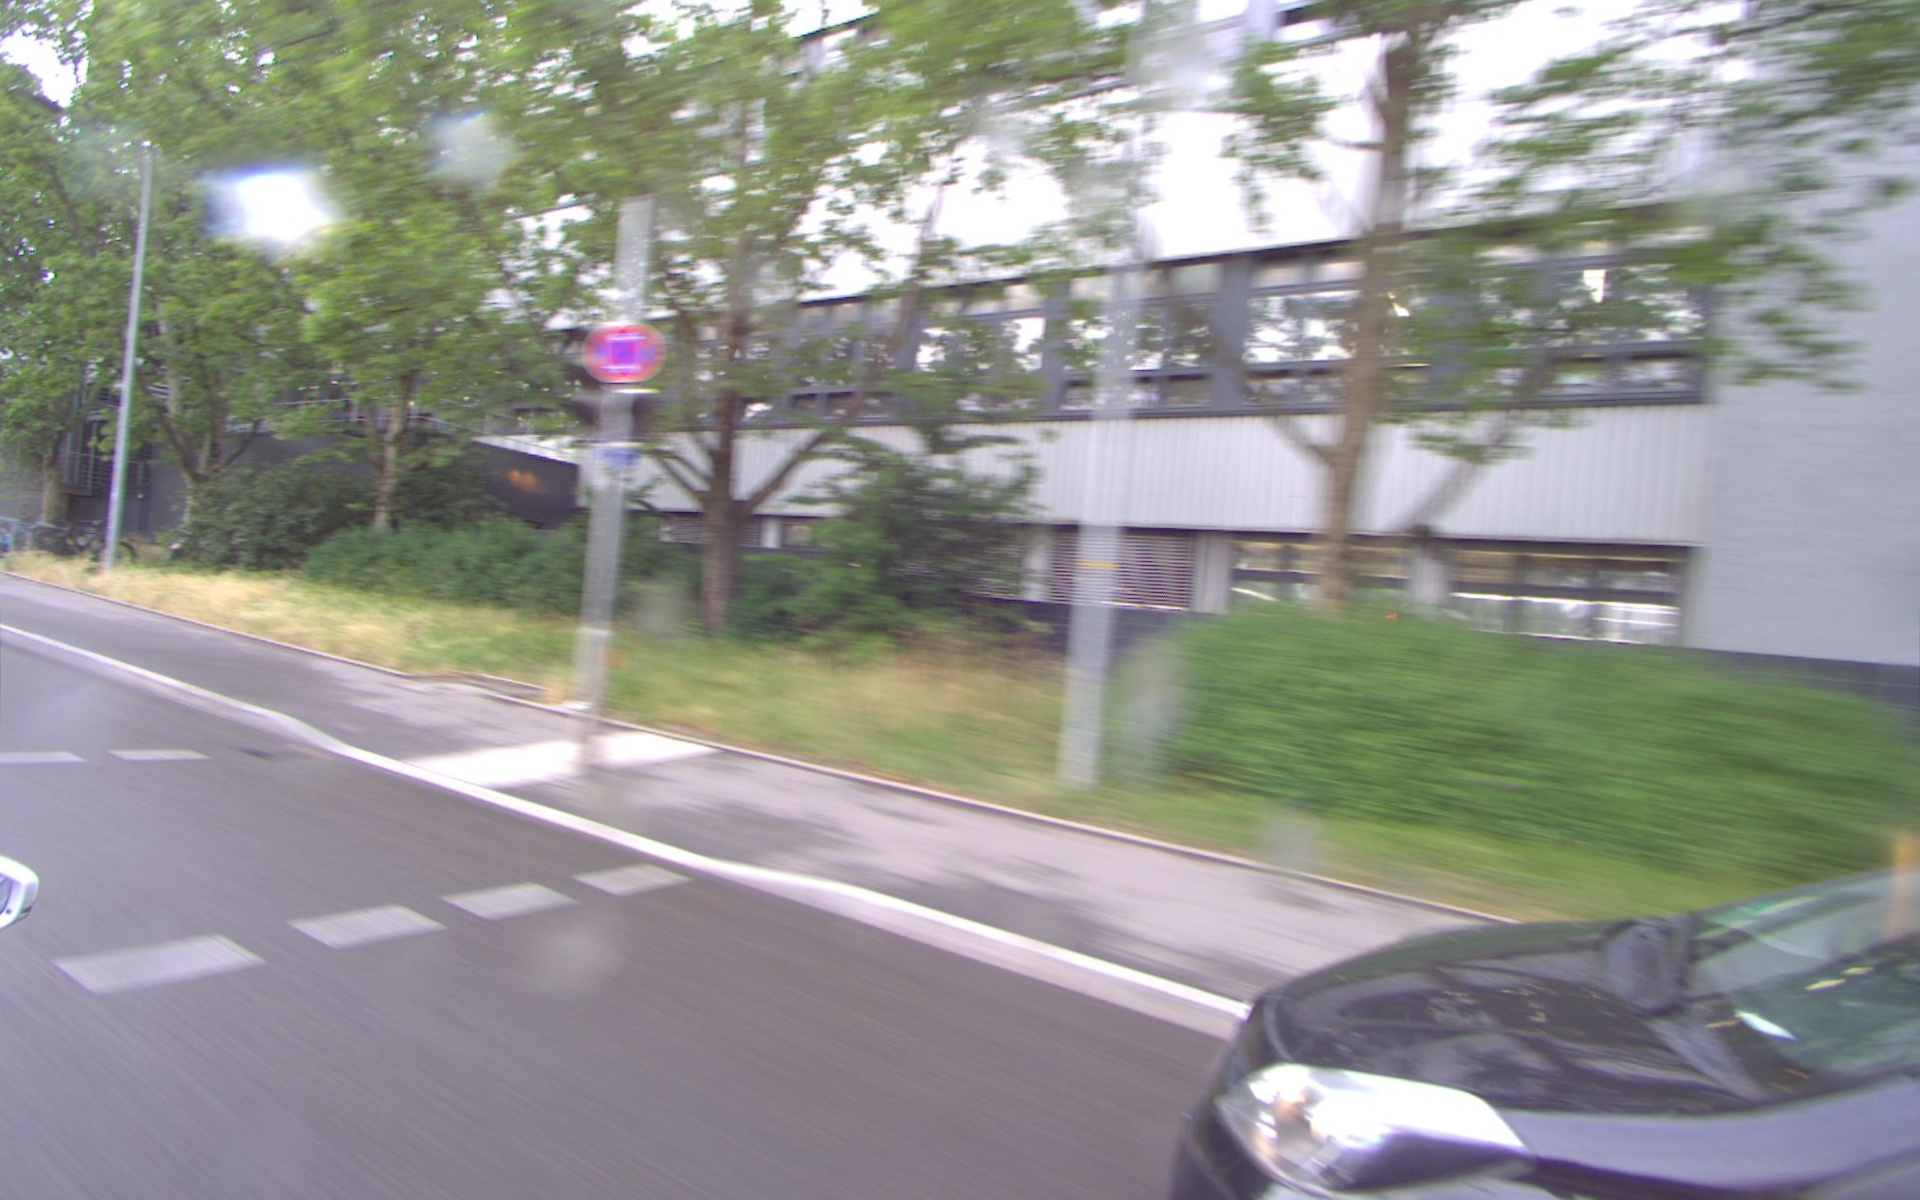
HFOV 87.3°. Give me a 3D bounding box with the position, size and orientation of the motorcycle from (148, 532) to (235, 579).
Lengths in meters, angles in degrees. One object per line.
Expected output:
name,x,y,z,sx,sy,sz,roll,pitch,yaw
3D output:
motorcycle,-19.593,-1.121,25.677,0.567,1.014,1.609,6,0,31

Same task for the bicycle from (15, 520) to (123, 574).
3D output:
bicycle,-18.498,-1.090,20.920,0.381,0.951,1.609,6,0,31

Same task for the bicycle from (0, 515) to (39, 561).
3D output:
bicycle,-22.506,-1.492,23.357,0.387,1.018,1.553,7,1,31

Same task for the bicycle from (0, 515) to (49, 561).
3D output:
bicycle,-21.968,-1.462,23.024,0.387,0.970,1.553,7,1,31

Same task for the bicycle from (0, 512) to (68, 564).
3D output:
bicycle,-20.871,-1.393,22.292,0.387,1.018,1.553,7,1,31

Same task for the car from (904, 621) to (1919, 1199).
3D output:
car,2.312,1.045,1.393,4.563,1.487,1.748,6,-1,31

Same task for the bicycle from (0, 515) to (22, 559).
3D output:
bicycle,-23.234,-1.553,23.708,0.387,1.018,1.553,7,1,31

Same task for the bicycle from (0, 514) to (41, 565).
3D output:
bicycle,-20.420,-1.314,21.137,0.387,1.018,1.553,7,1,31

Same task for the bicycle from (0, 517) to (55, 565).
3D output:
bicycle,-21.622,-1.367,22.815,0.387,0.970,1.553,7,1,31
